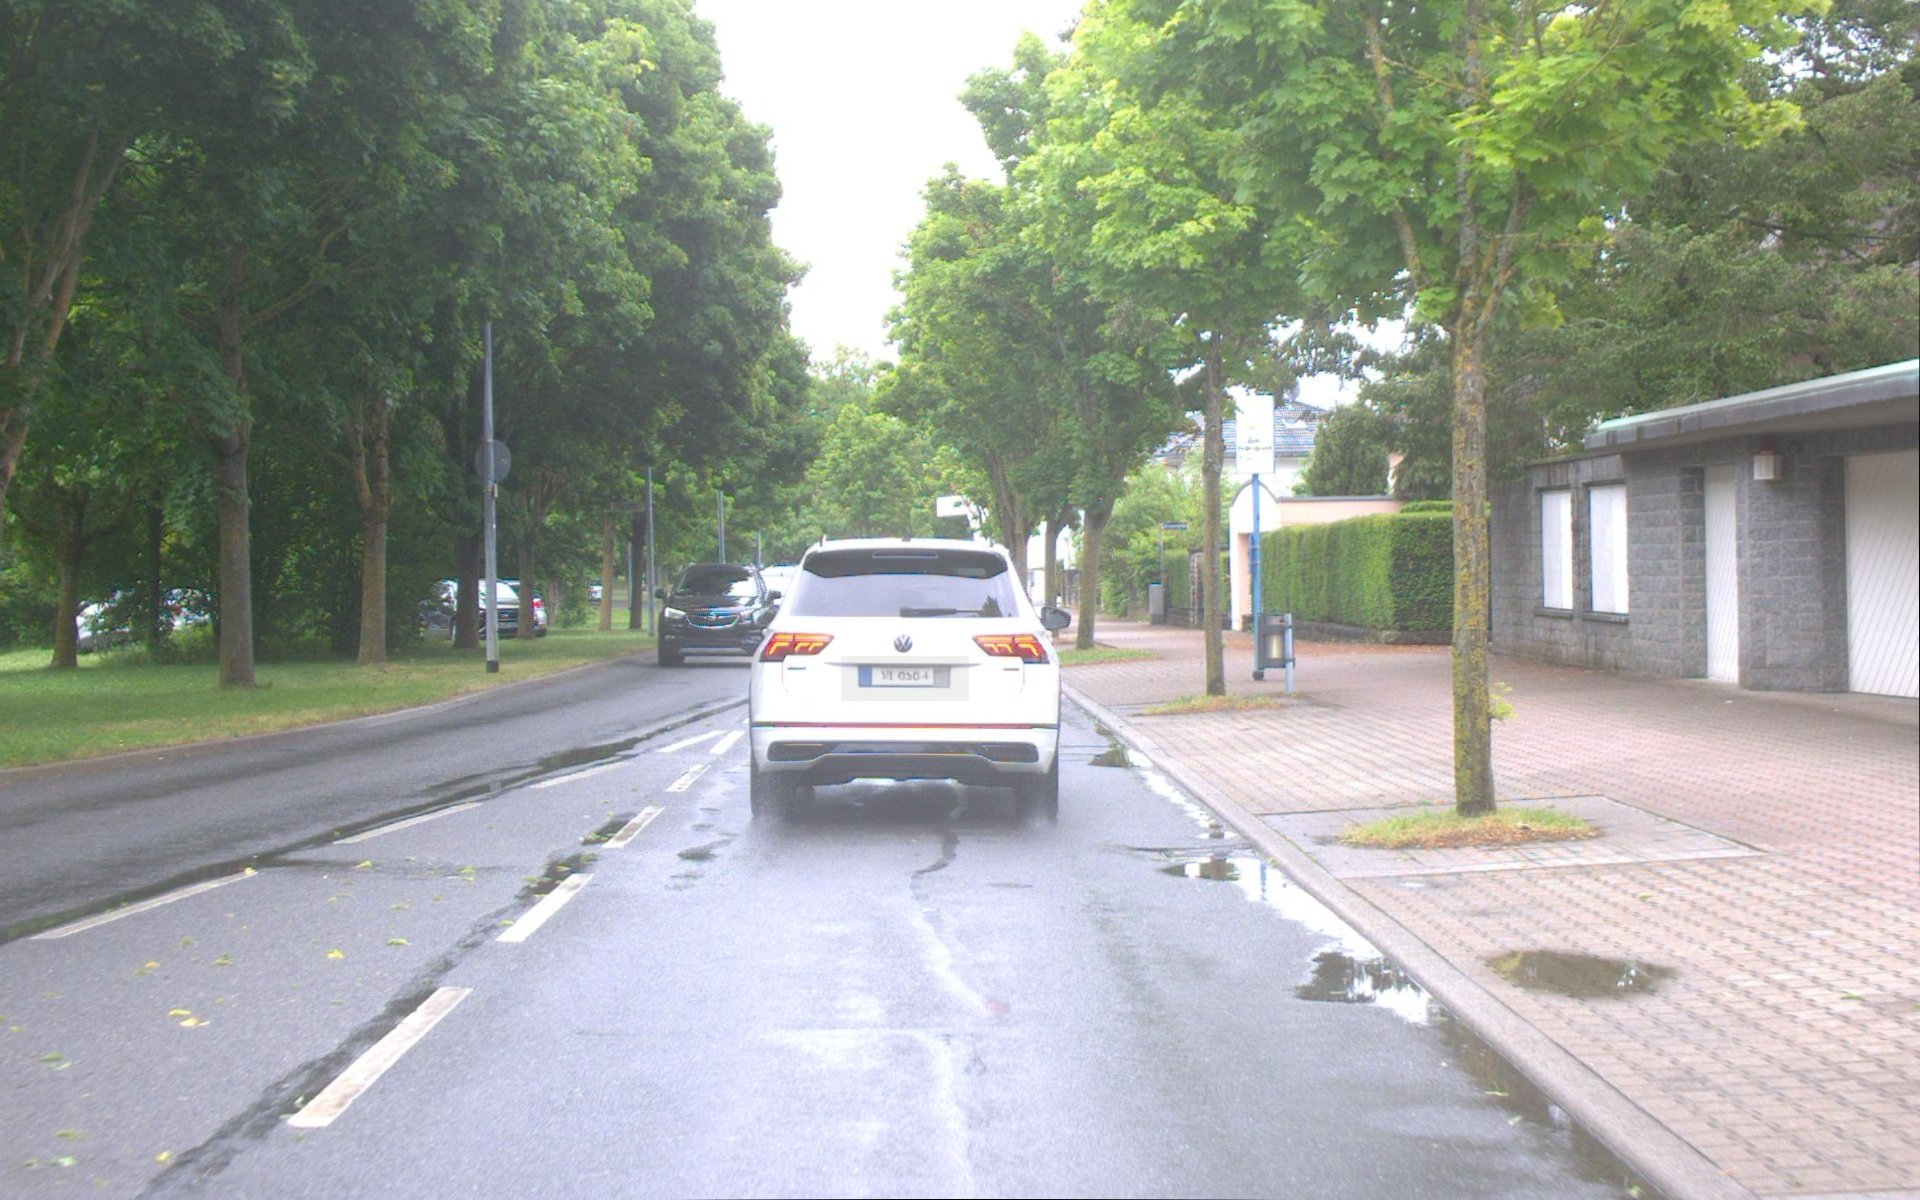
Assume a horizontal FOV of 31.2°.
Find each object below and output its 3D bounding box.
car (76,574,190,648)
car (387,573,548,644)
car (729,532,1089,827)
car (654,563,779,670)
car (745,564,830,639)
[{"bbox_3d":[-17.425,0.228,72.345,1.841,1.477,4.001,-1,0,-20],"label":"car"},{"bbox_3d":[-10.781,0.190,75.112,1.841,1.477,3.999,-1,1,-35],"label":"car"},{"bbox_3d":[-0.381,0.417,21.202,1.996,1.626,4.001,1,1,-3],"label":"car"},{"bbox_3d":[-3.876,0.237,55.250,1.814,1.642,4.000,0,0,-1],"label":"car"},{"bbox_3d":[-3.891,0.017,78.102,1.756,1.642,4.000,0,0,-1],"label":"car"}]
